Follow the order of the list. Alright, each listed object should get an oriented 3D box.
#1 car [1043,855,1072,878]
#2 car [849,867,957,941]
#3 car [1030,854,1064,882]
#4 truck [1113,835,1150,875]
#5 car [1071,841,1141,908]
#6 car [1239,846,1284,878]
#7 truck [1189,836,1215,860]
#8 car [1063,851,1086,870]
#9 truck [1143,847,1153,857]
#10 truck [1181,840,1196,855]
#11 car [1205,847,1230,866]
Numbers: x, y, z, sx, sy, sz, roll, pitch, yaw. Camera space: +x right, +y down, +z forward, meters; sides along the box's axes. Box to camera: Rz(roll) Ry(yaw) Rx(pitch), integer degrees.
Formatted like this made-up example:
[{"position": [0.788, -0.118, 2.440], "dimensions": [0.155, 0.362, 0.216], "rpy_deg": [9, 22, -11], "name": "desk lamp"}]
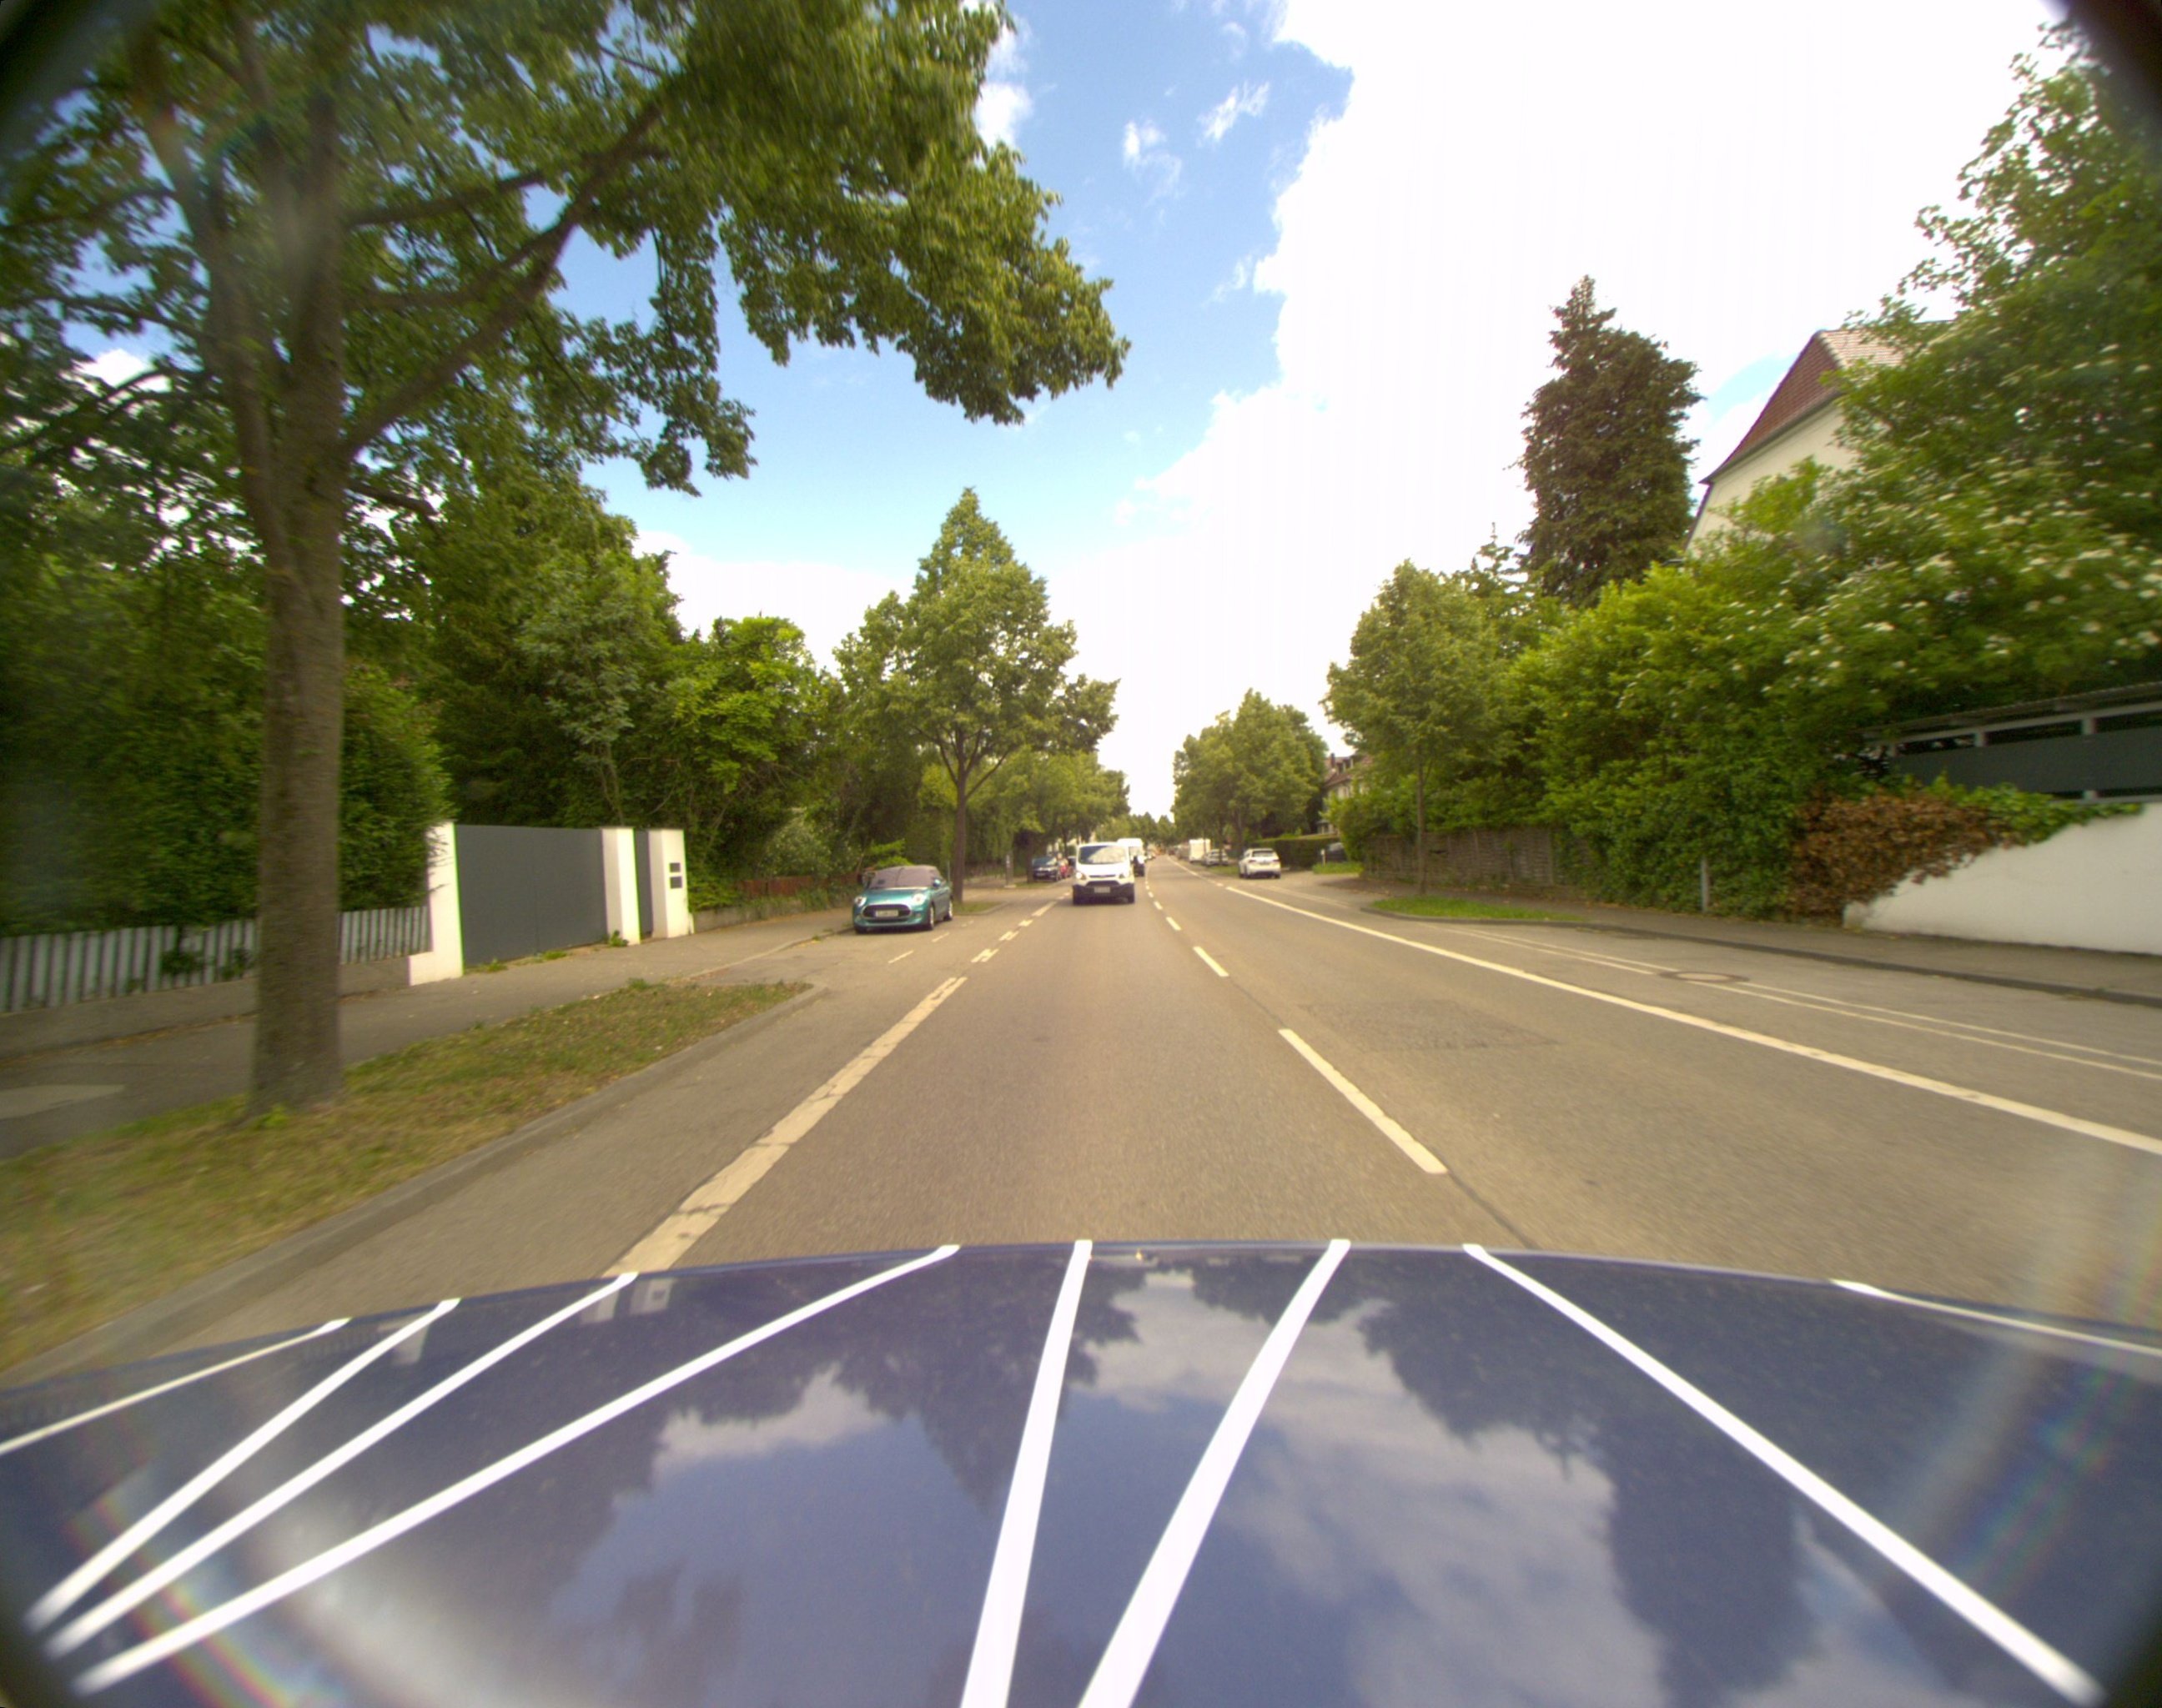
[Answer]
[{"position": [-1.571, 0.839, 52.584], "dimensions": [1.741, 1.389, 3.705], "rpy_deg": [-2, 0, 2], "name": "car"}, {"position": [-4.041, 1.075, 17.793], "dimensions": [1.667, 1.398, 3.657], "rpy_deg": [-2, 1, -1], "name": "car"}, {"position": [-2.082, 0.812, 46.991], "dimensions": [1.776, 1.588, 3.815], "rpy_deg": [-2, 0, 2], "name": "car"}, {"position": [3.436, 0.077, 53.043], "dimensions": [2.036, 2.555, 6.056], "rpy_deg": [-2, 0, -1], "name": "truck"}, {"position": [0.859, 0.585, 25.740], "dimensions": [2.075, 1.956, 5.557], "rpy_deg": [-2, 1, 2], "name": "car"}, {"position": [9.977, 0.404, 42.205], "dimensions": [1.916, 1.643, 4.002], "rpy_deg": [-2, 0, 6], "name": "car"}, {"position": [15.067, -0.788, 95.000], "dimensions": [2.641, 2.757, 6.258], "rpy_deg": [-2, 1, 5], "name": "truck"}, {"position": [-0.543, 0.566, 64.869], "dimensions": [1.747, 1.507, 4.000], "rpy_deg": [-2, 0, 2], "name": "car"}, {"position": [12.208, -0.355, 137.813], "dimensions": [1.618, 1.649, 4.001], "rpy_deg": [-2, 0, 4], "name": "truck"}, {"position": [18.431, -1.130, 130.440], "dimensions": [1.998, 2.530, 4.499], "rpy_deg": [-3, 1, 1], "name": "truck"}, {"position": [12.425, 0.187, 69.208], "dimensions": [1.889, 1.606, 4.002], "rpy_deg": [-2, 0, 6], "name": "car"}]
